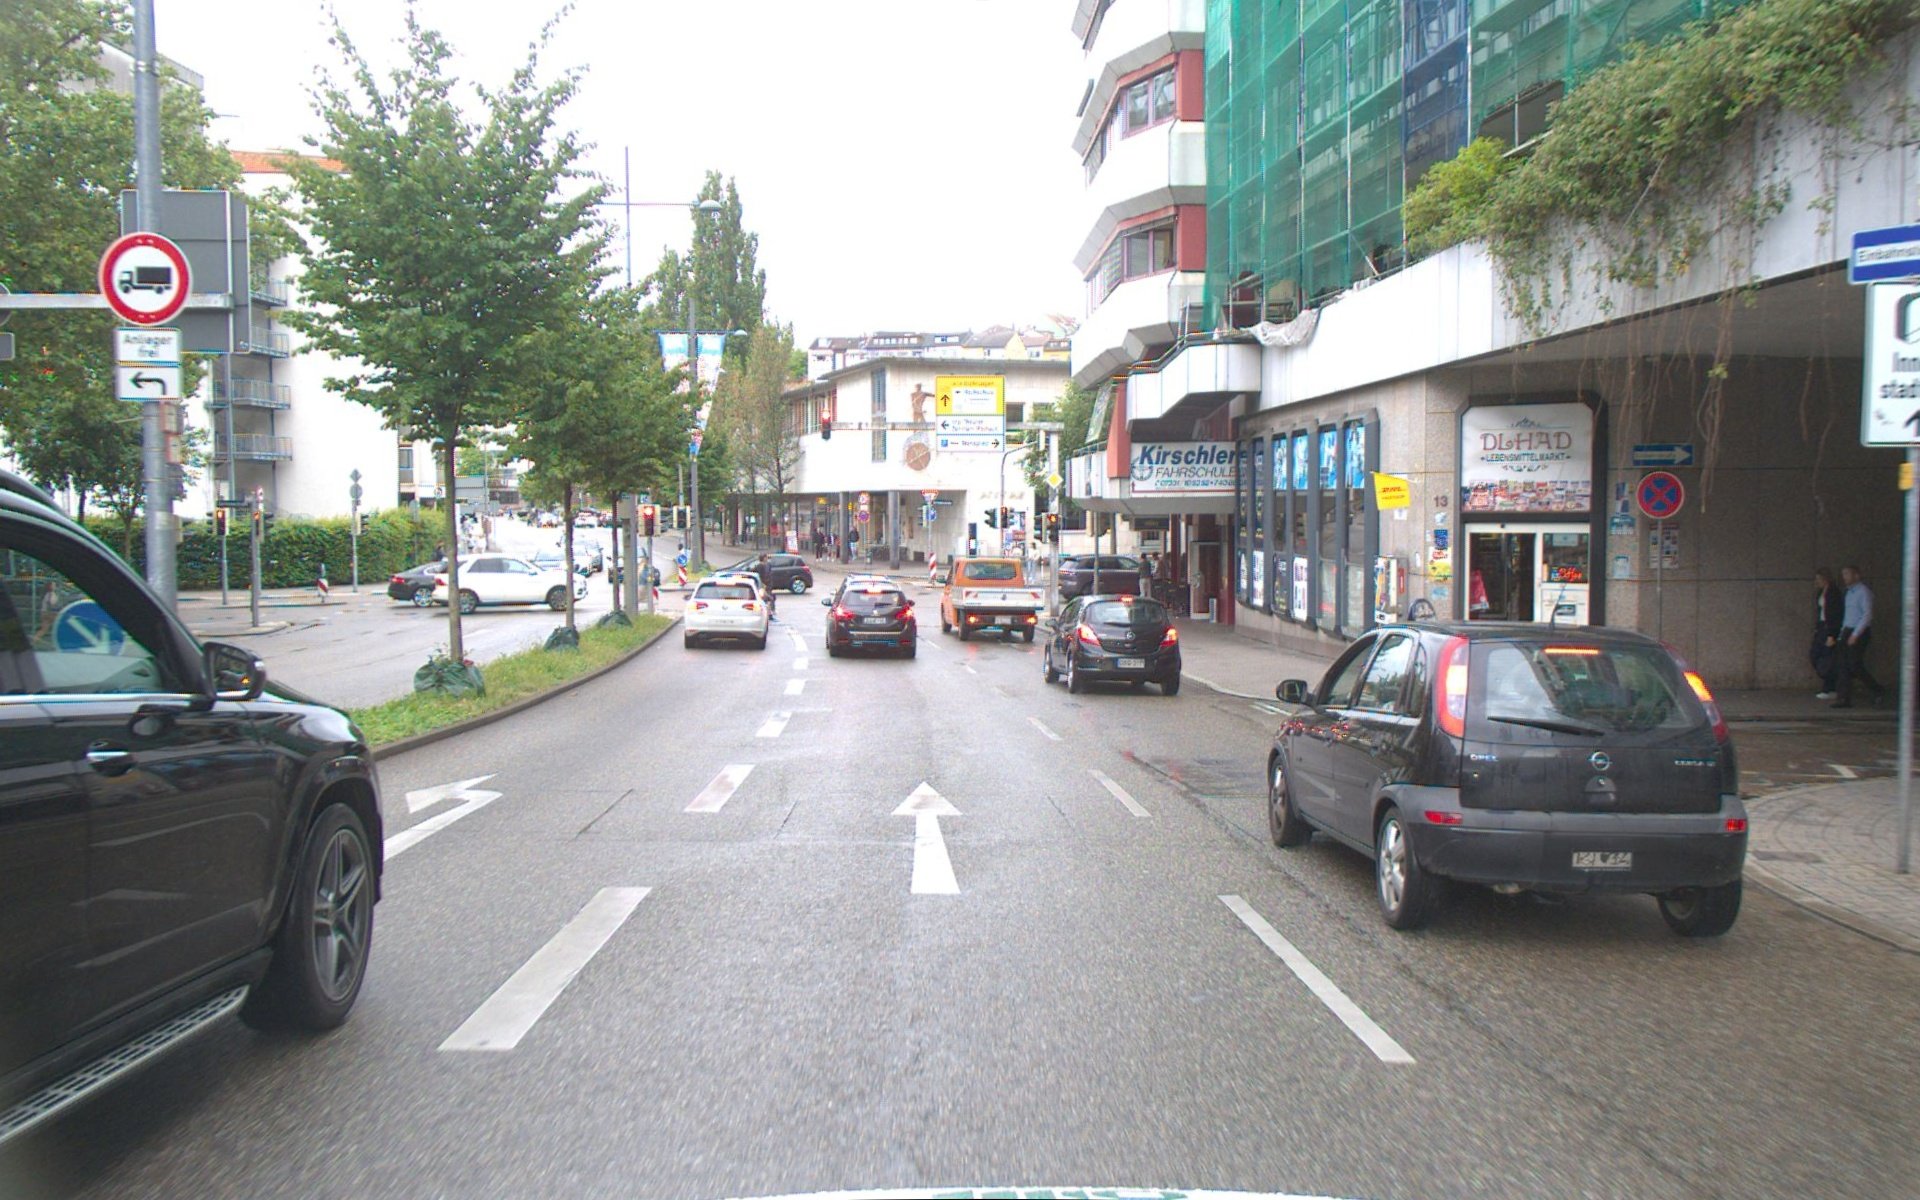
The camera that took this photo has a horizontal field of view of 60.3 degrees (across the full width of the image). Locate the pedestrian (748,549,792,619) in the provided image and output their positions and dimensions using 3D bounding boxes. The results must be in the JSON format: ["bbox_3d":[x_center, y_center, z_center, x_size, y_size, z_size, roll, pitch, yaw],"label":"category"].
[{"bbox_3d":[-5.351,-0.464,46.542,1.041,1.914,0.839,-2,1,3],"label":"pedestrian"}]

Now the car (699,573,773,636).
[{"bbox_3d":[-5.702,0.079,42.533,1.759,1.493,3.995,0,1,-6],"label":"car"}]

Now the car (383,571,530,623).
[{"bbox_3d":[-16.764,-0.106,55.180,4.609,1.672,1.778,1,1,-18],"label":"car"}]

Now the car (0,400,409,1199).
[{"bbox_3d":[-2.986,0.488,3.666,2.046,1.848,4.791,1,1,-2],"label":"car"}]

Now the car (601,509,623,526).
[{"bbox_3d":[-35.811,-8.471,170.208,1.803,1.616,3.855,-1,1,-17],"label":"car"}]

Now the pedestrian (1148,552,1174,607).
[{"bbox_3d":[6.429,-0.669,52.799,0.566,1.729,0.647,-2,1,-17],"label":"pedestrian"}]

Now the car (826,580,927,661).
[{"bbox_3d":[-1.784,0.389,34.249,1.777,1.466,3.994,1,2,-7],"label":"car"}]

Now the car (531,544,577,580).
[{"bbox_3d":[-17.494,-1.642,71.399,1.675,1.476,3.852,-1,1,-10],"label":"car"}]

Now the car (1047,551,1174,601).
[{"bbox_3d":[5.286,-0.854,58.279,4.079,1.686,1.834,-1,1,-15],"label":"car"}]

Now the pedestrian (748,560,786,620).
[{"bbox_3d":[-5.810,-0.309,49.835,0.989,1.752,0.838,-2,1,1],"label":"pedestrian"}]

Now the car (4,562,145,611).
[{"bbox_3d":[-30.435,-0.473,56.975,3.930,1.645,1.768,-1,1,-15],"label":"car"}]

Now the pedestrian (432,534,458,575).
[{"bbox_3d":[-23.516,-2.063,75.460,0.899,1.834,0.617,-3,1,-44],"label":"pedestrian"}]

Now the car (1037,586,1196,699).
[{"bbox_3d":[2.387,0.602,26.232,1.911,1.601,3.998,0,1,-4],"label":"car"}]

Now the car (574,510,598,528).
[{"bbox_3d":[-37.832,-8.165,167.040,1.963,1.623,3.979,-1,1,-19],"label":"car"}]

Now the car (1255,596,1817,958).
[{"bbox_3d":[2.782,0.748,8.903,1.682,1.445,3.770,1,1,0],"label":"car"}]

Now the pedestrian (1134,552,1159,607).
[{"bbox_3d":[5.896,-0.652,52.340,0.566,1.729,0.648,-2,1,-13],"label":"pedestrian"}]

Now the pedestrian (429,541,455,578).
[{"bbox_3d":[-23.185,-1.810,73.974,0.919,1.636,0.554,-3,1,-44],"label":"pedestrian"}]

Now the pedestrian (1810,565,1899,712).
[{"bbox_3d":[11.700,0.489,21.649,0.603,1.809,0.838,-2,6,-5],"label":"pedestrian"}]

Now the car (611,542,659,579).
[{"bbox_3d":[-14.213,-1.737,72.425,1.786,1.576,3.993,-1,1,-8],"label":"car"}]

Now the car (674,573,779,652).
[{"bbox_3d":[-5.040,0.224,36.135,1.911,1.601,3.998,0,1,-3],"label":"car"}]

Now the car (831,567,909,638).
[{"bbox_3d":[-2.267,0.015,40.833,1.727,1.569,3.996,0,2,-6],"label":"car"}]

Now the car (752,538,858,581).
[{"bbox_3d":[-5.824,-1.516,62.078,3.911,1.554,1.844,-1,1,-7],"label":"car"}]

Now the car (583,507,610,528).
[{"bbox_3d":[-38.935,-8.813,177.080,1.969,2.048,3.967,-1,1,-26],"label":"car"}]

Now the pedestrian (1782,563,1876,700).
[{"bbox_3d":[11.807,0.413,22.492,0.704,1.750,0.769,0,8,-6],"label":"pedestrian"}]

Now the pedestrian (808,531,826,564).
[{"bbox_3d":[-8.116,-3.004,94.047,0.786,1.834,0.913,-2,1,-18],"label":"pedestrian"}]

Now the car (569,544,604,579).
[{"bbox_3d":[-19.292,-2.005,85.506,1.675,1.750,3.989,-1,1,-12],"label":"car"}]

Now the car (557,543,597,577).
[{"bbox_3d":[-18.252,-1.892,78.852,1.746,1.576,3.989,-1,1,-12],"label":"car"}]

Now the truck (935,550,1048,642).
[{"bbox_3d":[0.699,-0.155,41.484,2.142,2.119,5.596,-1,1,-6],"label":"truck"}]

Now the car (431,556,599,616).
[{"bbox_3d":[-13.956,-0.437,52.036,4.988,1.789,1.992,1,1,-16],"label":"car"}]

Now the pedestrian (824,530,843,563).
[{"bbox_3d":[-7.185,-3.031,93.829,0.833,1.834,1.051,-2,1,-18],"label":"pedestrian"}]

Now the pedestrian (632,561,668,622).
[{"bbox_3d":[-9.018,-0.255,48.133,0.818,1.752,0.819,-2,1,3],"label":"pedestrian"}]

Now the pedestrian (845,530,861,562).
[{"bbox_3d":[-6.111,-3.087,94.505,0.691,1.834,0.934,-2,1,-18],"label":"pedestrian"}]
